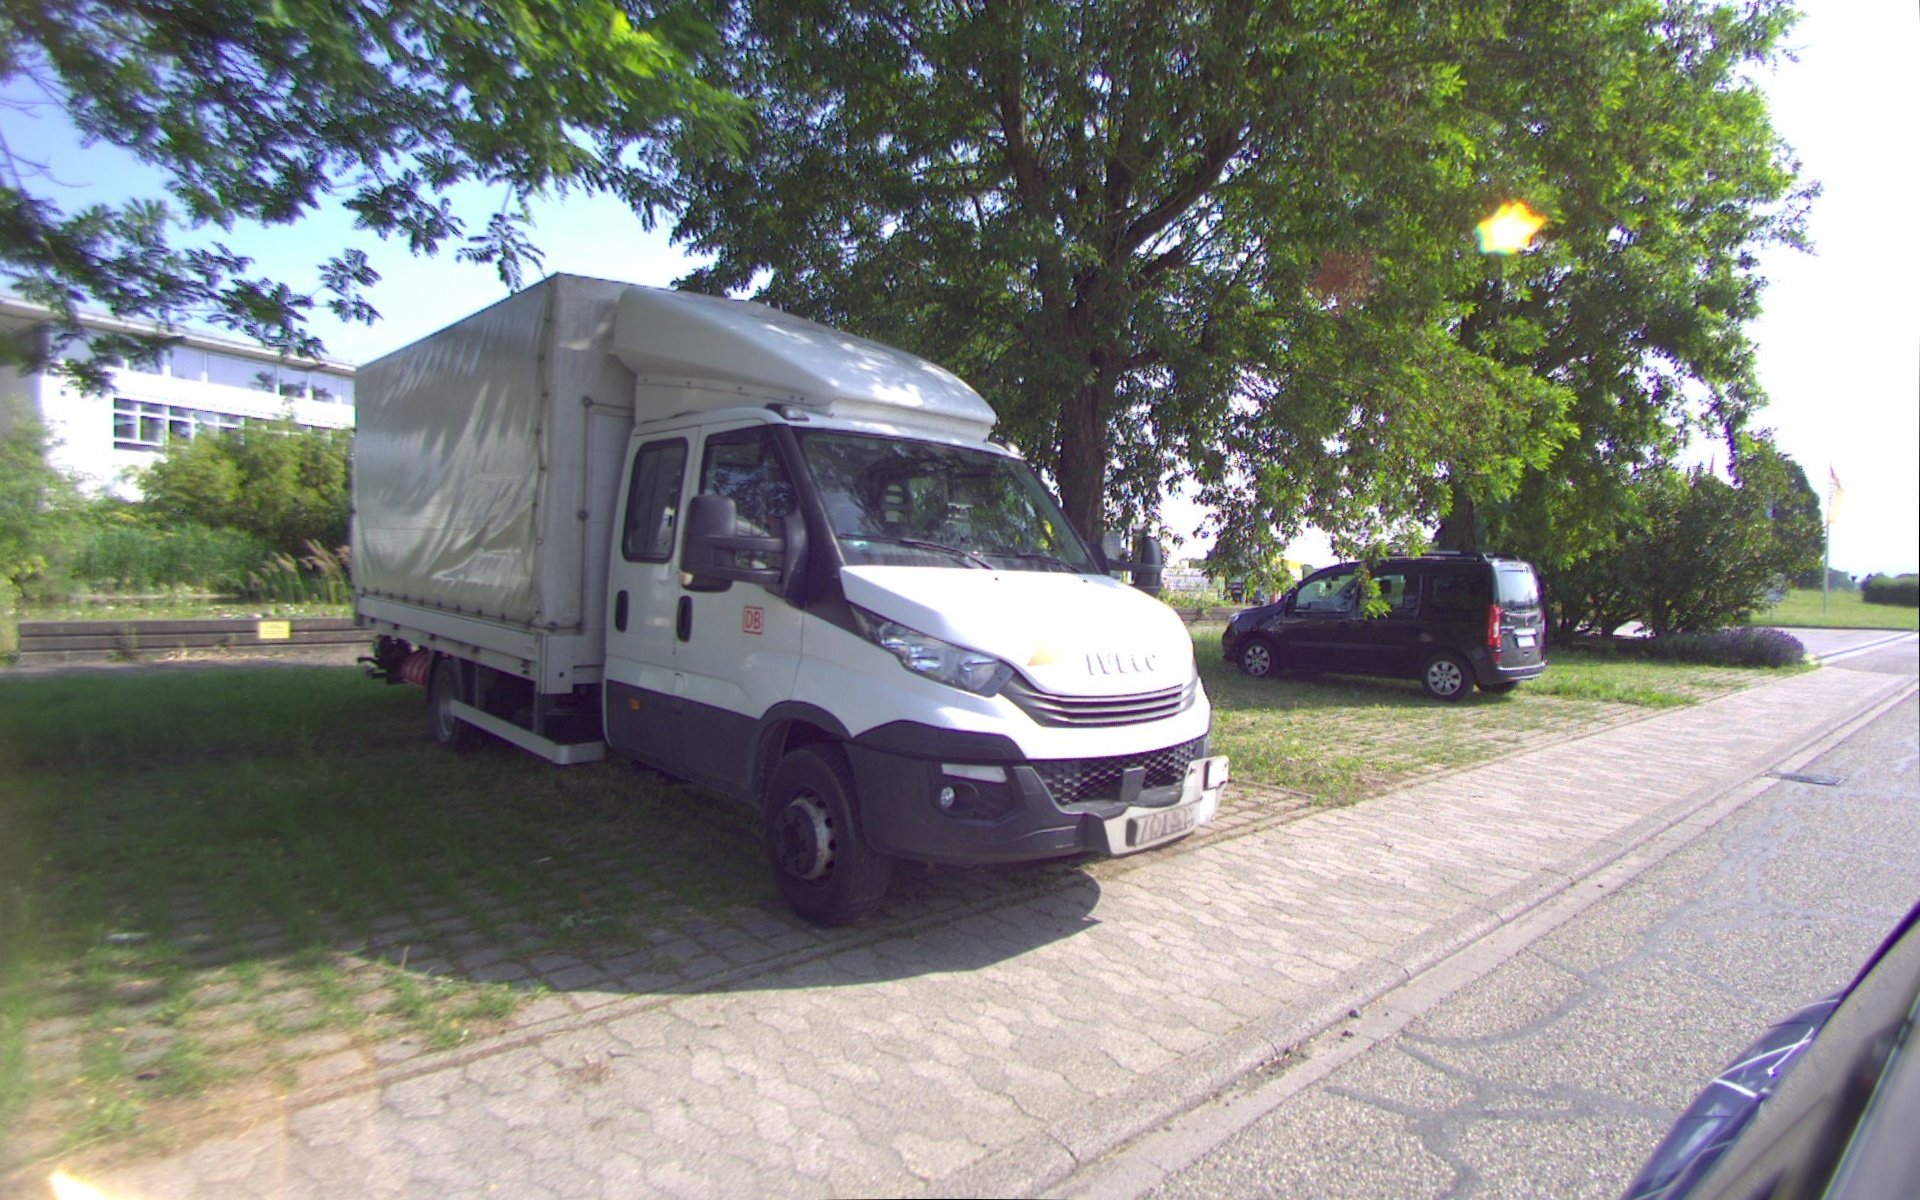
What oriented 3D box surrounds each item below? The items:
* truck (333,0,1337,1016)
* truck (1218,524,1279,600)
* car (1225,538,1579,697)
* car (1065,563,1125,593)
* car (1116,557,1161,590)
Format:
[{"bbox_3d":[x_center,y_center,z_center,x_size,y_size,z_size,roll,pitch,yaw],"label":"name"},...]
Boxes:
[{"bbox_3d":[-1.943,-0.631,7.051,2.695,3.411,8.222,-1,3,-42],"label":"truck"},{"bbox_3d":[15.863,-2.040,55.518,2.520,3.924,3.965,-1,1,26],"label":"truck"},{"bbox_3d":[5.930,0.116,13.934,1.965,1.860,3.996,0,2,-40],"label":"car"},{"bbox_3d":[9.974,-1.658,75.014,3.963,2.038,1.981,3,2,28],"label":"car"},{"bbox_3d":[15.389,-2.286,87.228,3.482,2.744,1.695,2,2,28],"label":"car"}]
